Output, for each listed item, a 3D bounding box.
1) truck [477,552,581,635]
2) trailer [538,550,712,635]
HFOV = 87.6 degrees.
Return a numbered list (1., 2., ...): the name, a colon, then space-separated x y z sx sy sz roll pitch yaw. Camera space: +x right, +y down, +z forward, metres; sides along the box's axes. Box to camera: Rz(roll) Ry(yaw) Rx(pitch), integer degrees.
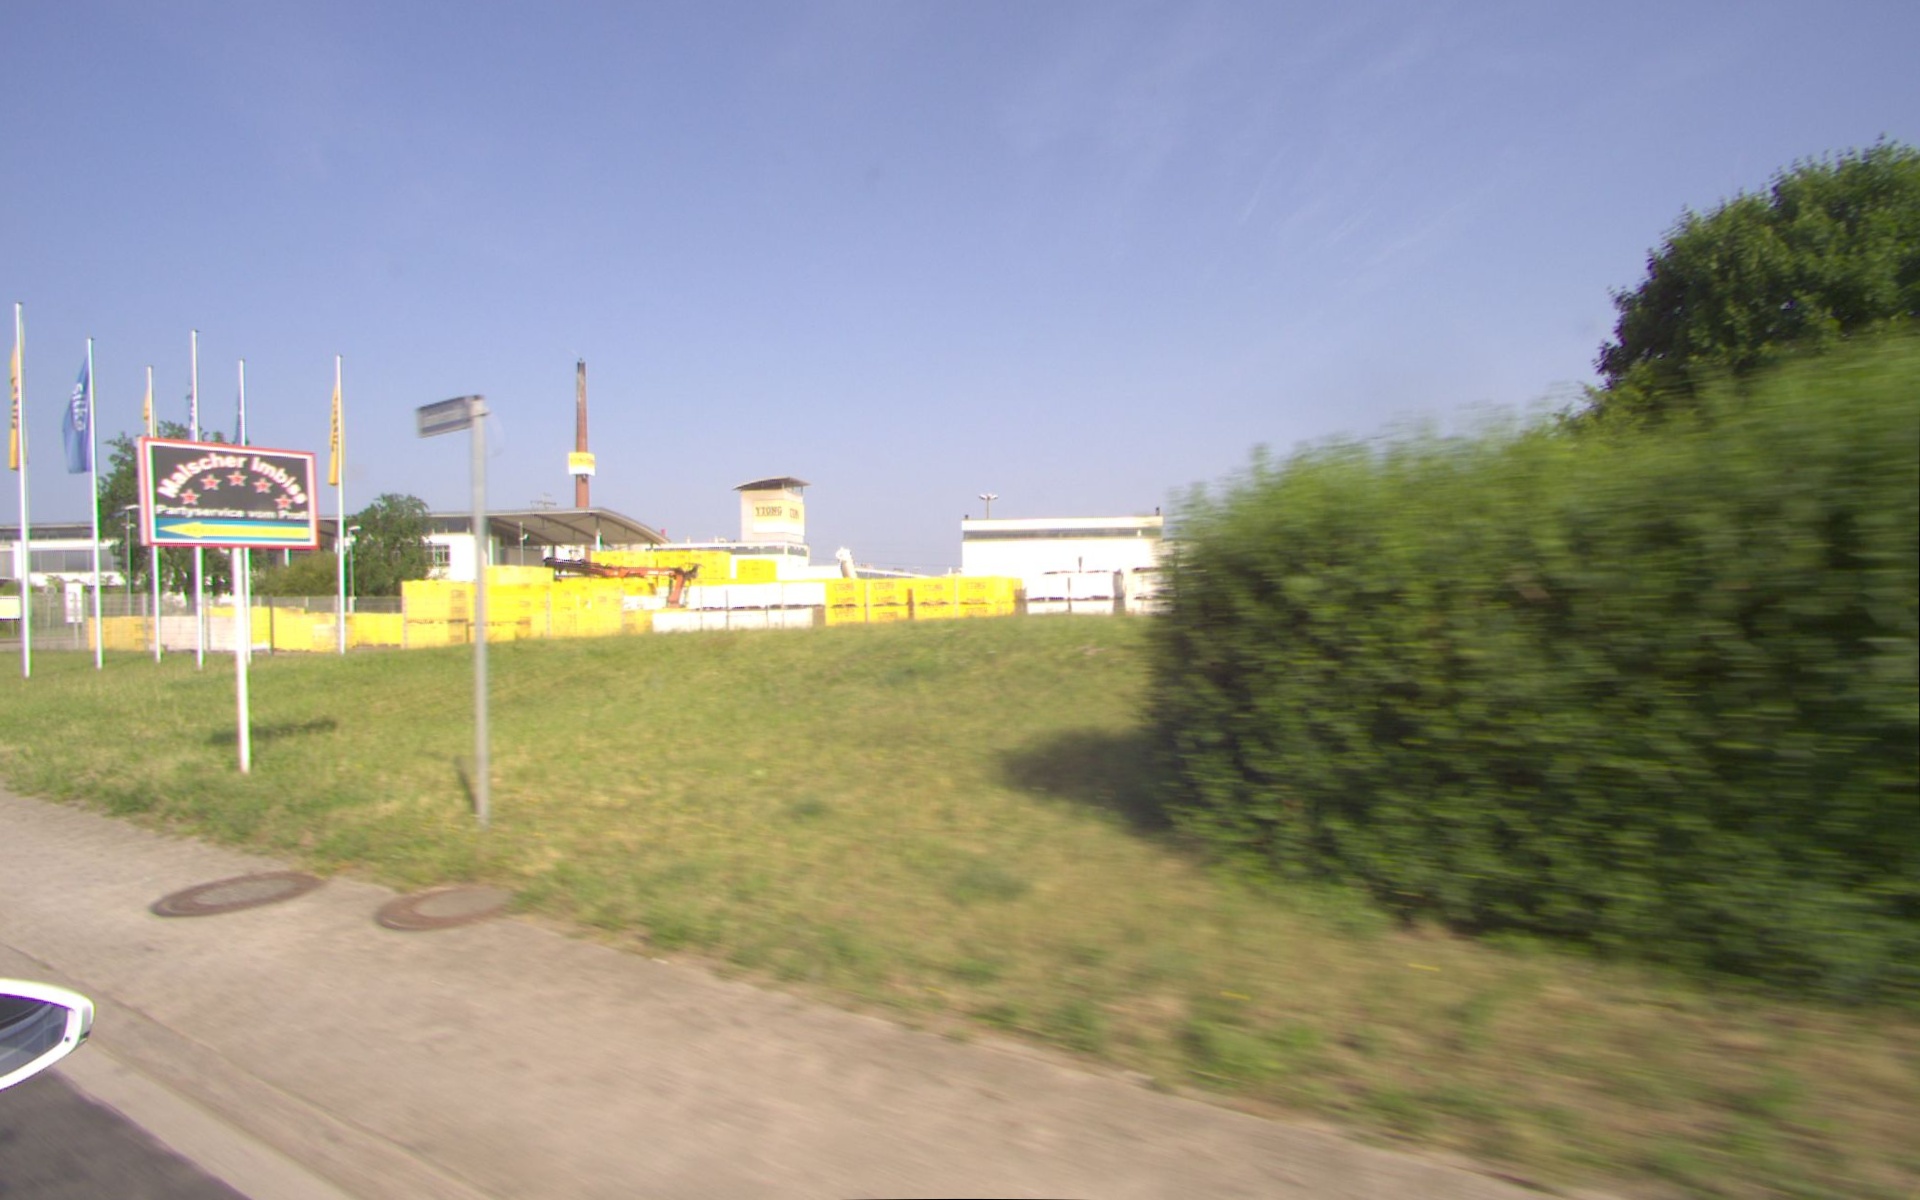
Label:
1. truck: -21.190 -0.267 49.296 3.924 3.925 2.546 0 -2 10
2. trailer: -16.125 -0.293 48.342 7.652 3.925 2.485 0 -2 10
